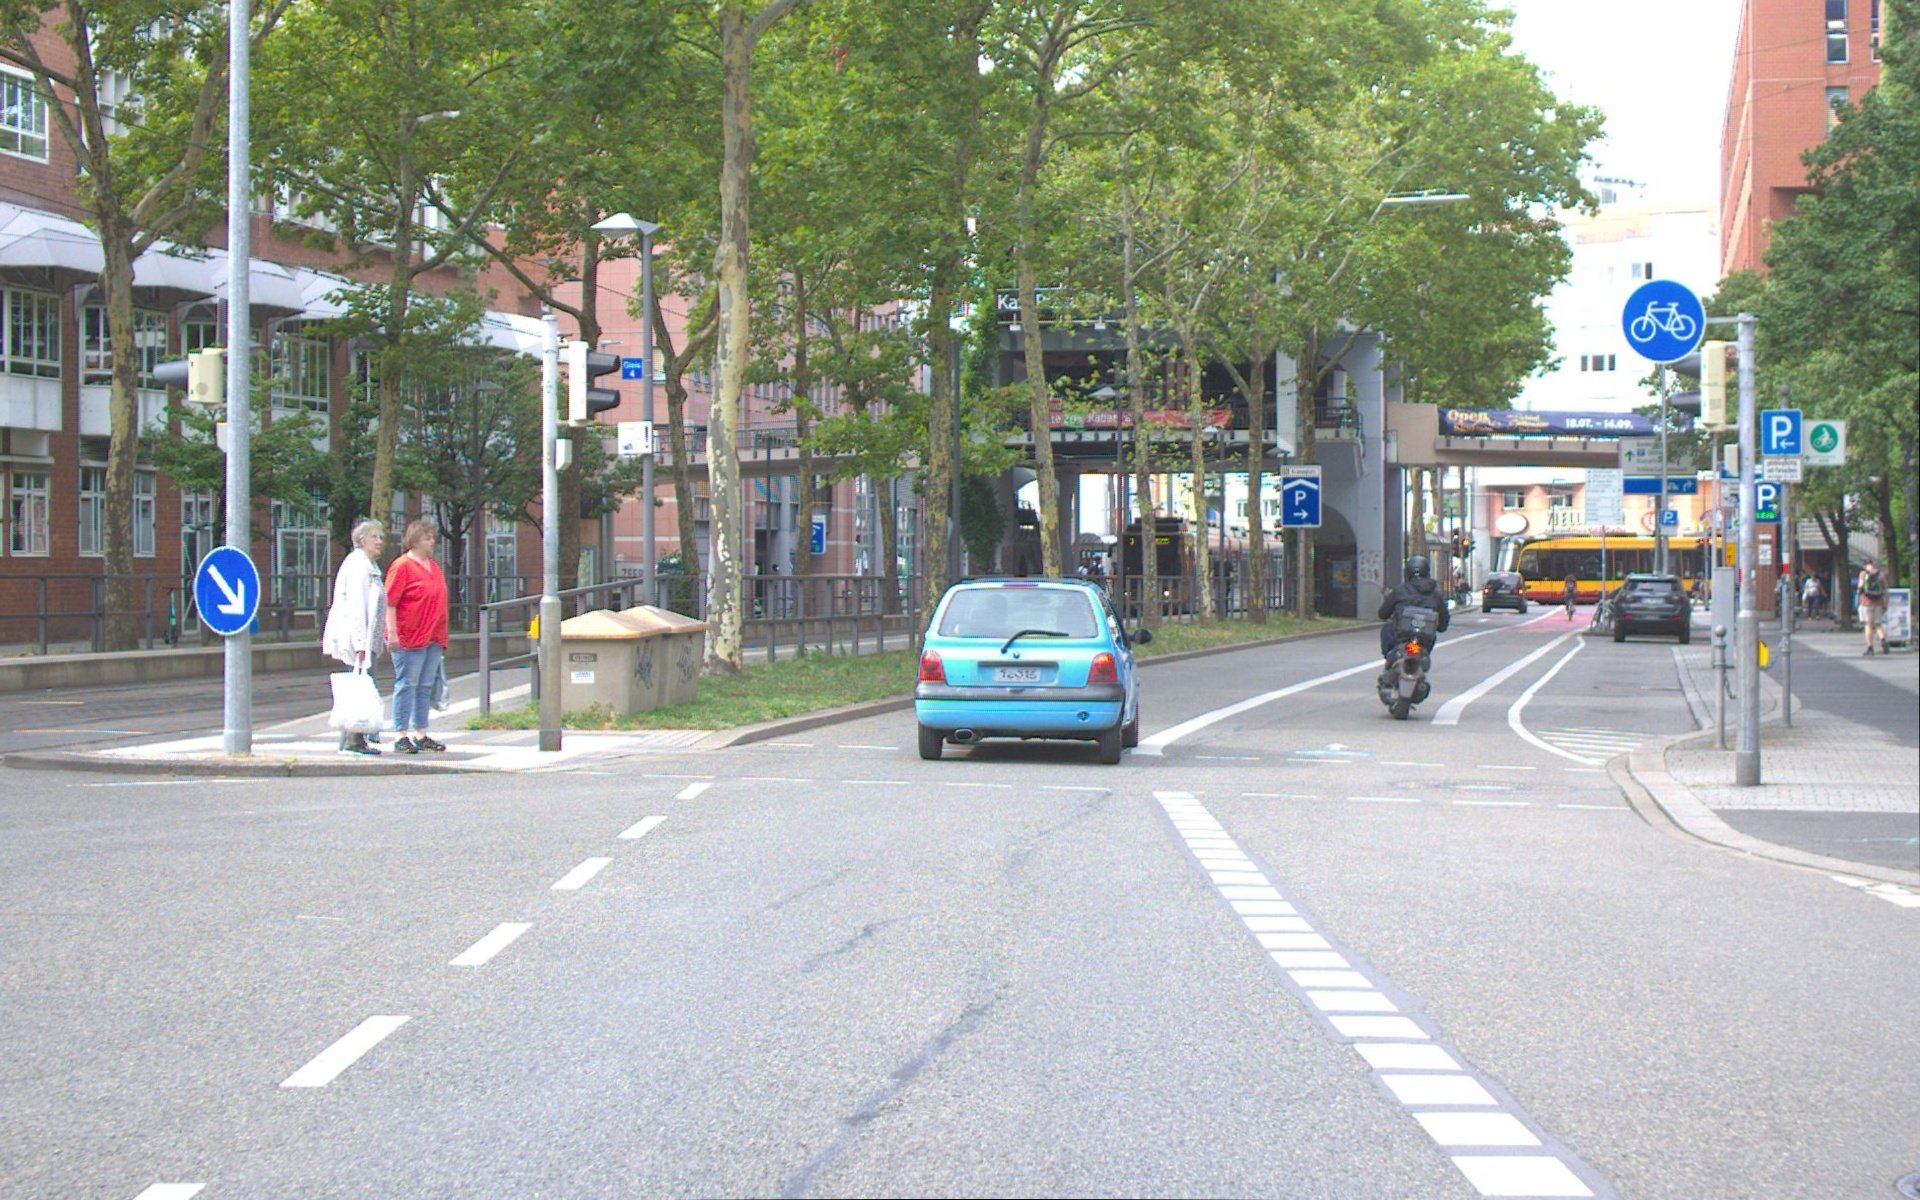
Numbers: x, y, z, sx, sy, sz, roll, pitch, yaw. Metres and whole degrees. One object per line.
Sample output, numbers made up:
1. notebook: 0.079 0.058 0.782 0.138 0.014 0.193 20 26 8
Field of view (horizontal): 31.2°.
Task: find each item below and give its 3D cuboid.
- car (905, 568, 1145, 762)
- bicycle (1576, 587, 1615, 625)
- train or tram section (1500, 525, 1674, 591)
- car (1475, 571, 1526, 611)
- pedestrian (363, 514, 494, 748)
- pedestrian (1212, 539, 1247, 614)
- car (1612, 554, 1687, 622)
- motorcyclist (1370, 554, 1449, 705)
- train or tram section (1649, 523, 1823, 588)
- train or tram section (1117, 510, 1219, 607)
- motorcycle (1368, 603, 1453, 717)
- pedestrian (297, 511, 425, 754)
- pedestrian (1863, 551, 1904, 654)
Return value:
1. car: 0.581 0.462 27.413 1.641 1.381 3.842 1 1 5
2. bicycle: 17.513 0.167 94.736 0.563 1.005 2.009 0 1 -4
3. train or tram section: 31.173 -2.082 170.773 8.787 3.242 2.397 0 0 -26
4. car: 22.848 -0.402 145.238 1.887 1.618 3.998 0 1 12
5. pedestrian: -3.974 0.220 25.729 0.553 1.712 0.889 1 1 27
6. pedestrian: 6.713 -0.591 85.597 0.728 1.852 0.870 0 1 13
7. car: 16.575 -0.313 82.584 1.700 1.596 3.998 0 1 12
8. motorcyclist: 4.578 0.292 35.074 0.759 1.514 1.017 0 0 6
9. train or tram section: 39.167 -2.238 173.553 8.330 3.242 2.397 0 0 -13
10. train or tram section: 7.338 -1.446 120.256 2.390 3.242 8.814 0 1 11
11. motorcycle: 4.586 0.594 35.098 0.767 1.103 2.208 0 1 5
12. pedestrian: -4.316 0.222 24.804 0.553 1.712 0.890 0 1 18
13. pedestrian: 16.759 0.039 62.398 0.647 1.852 0.782 0 1 10
